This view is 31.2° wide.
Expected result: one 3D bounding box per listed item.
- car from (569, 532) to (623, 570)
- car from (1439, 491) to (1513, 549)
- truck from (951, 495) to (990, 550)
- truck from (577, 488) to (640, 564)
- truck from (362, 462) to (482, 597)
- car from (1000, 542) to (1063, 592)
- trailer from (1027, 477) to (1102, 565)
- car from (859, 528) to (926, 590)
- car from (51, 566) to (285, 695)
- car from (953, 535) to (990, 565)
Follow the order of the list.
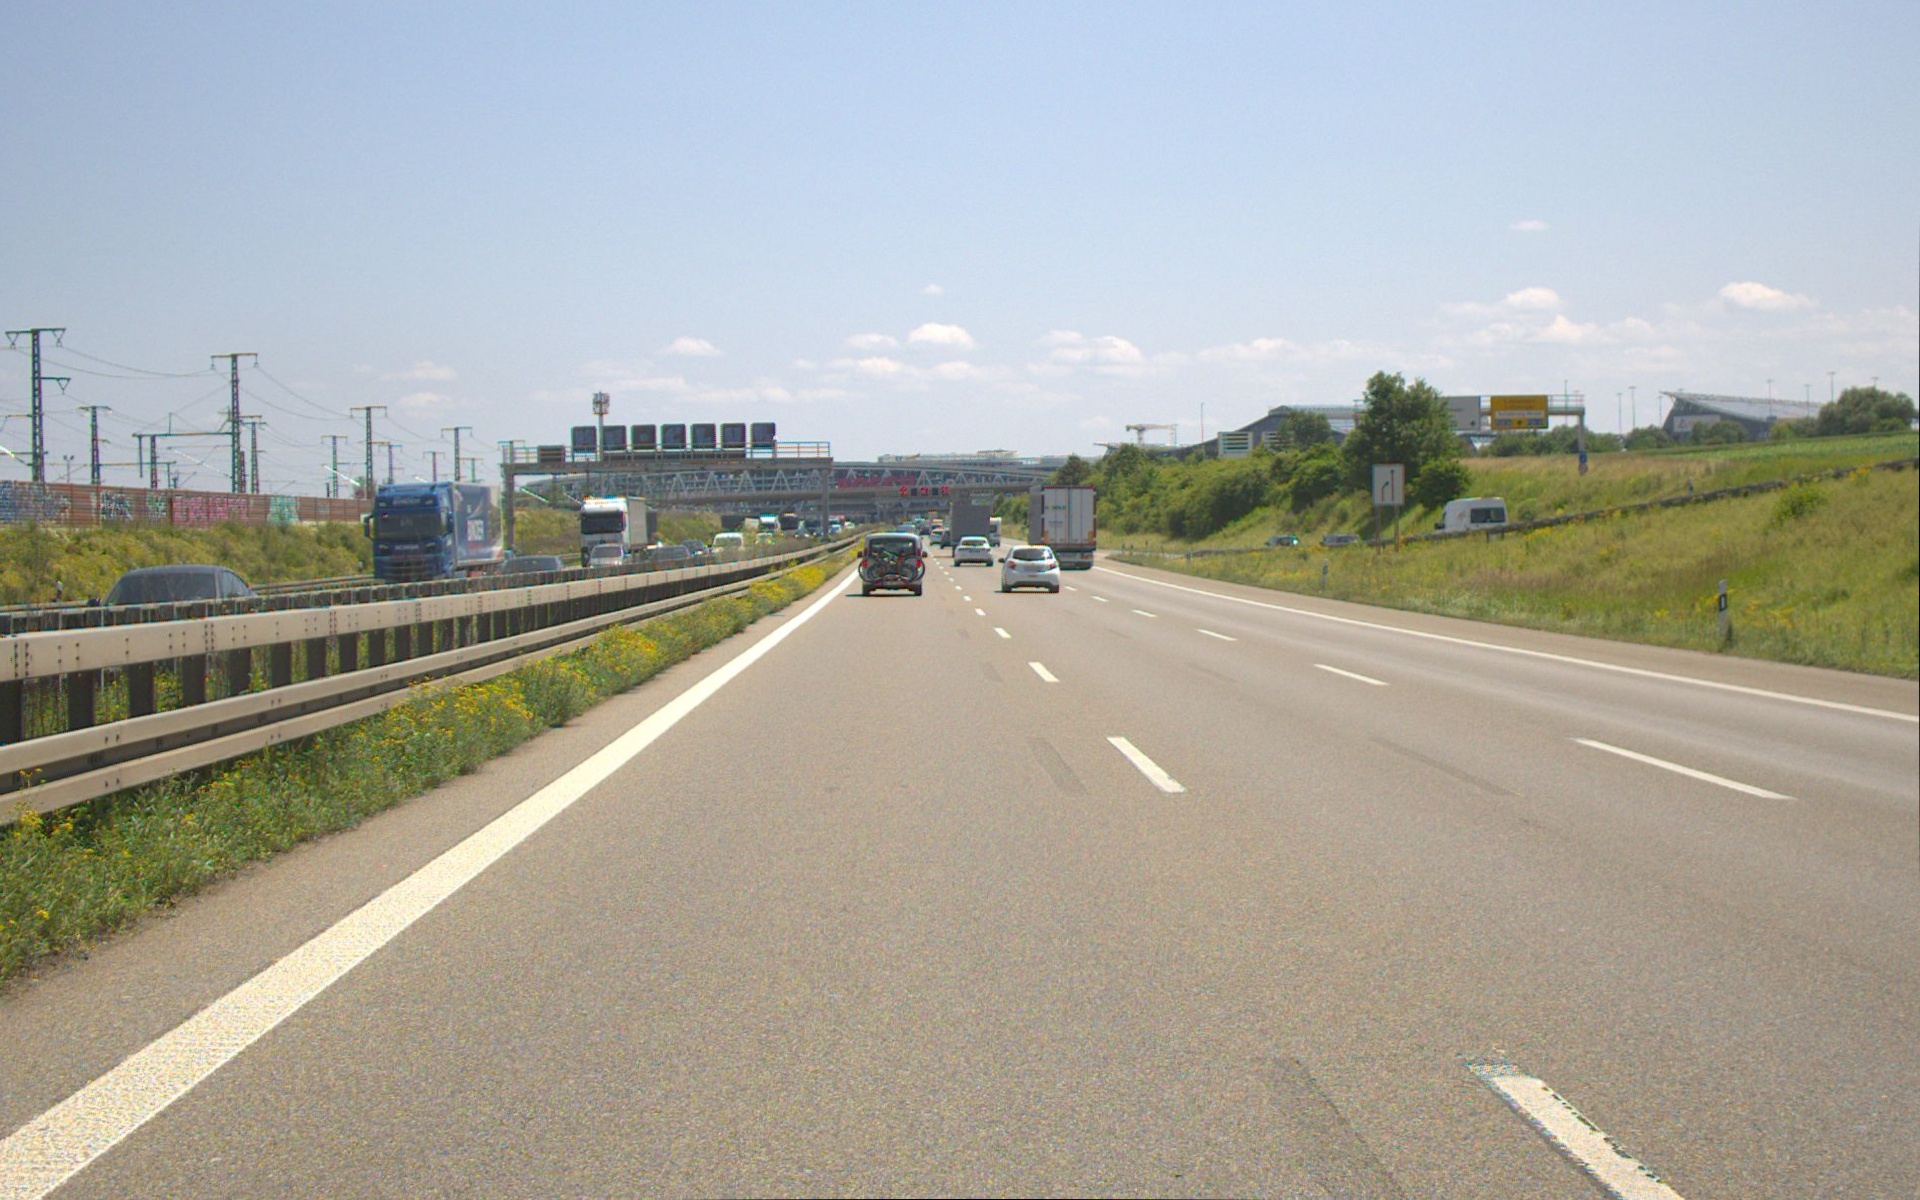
[{"bbox_3d":[-15.982,-2.145,151.163,1.993,1.642,4.000,0,1,-1],"label":"car"},{"bbox_3d":[22.733,-3.539,151.687,2.274,2.519,5.400,0,1,-2],"label":"car"},{"bbox_3d":[0.653,-4.891,216.399,2.355,3.404,6.058,0,1,-1],"label":"truck"},{"bbox_3d":[-19.305,-4.081,188.973,2.730,4.058,6.381,-1,1,0],"label":"truck"},{"bbox_3d":[-18.285,-2.403,117.215,2.888,4.392,7.503,-1,1,-1],"label":"truck"},{"bbox_3d":[2.248,-1.025,106.973,1.881,1.521,4.000,0,1,2],"label":"car"},{"bbox_3d":[4.982,-3.814,165.555,3.177,4.045,9.440,-1,1,-1],"label":"trailer"},{"bbox_3d":[-1.961,-1.193,100.648,1.880,1.769,4.000,-1,1,-1],"label":"car"},{"bbox_3d":[-9.972,0.345,43.603,1.993,1.482,4.154,-2,1,-1],"label":"car"},{"bbox_3d":[0.580,-2.509,173.229,1.881,1.521,4.000,0,1,0],"label":"car"}]
